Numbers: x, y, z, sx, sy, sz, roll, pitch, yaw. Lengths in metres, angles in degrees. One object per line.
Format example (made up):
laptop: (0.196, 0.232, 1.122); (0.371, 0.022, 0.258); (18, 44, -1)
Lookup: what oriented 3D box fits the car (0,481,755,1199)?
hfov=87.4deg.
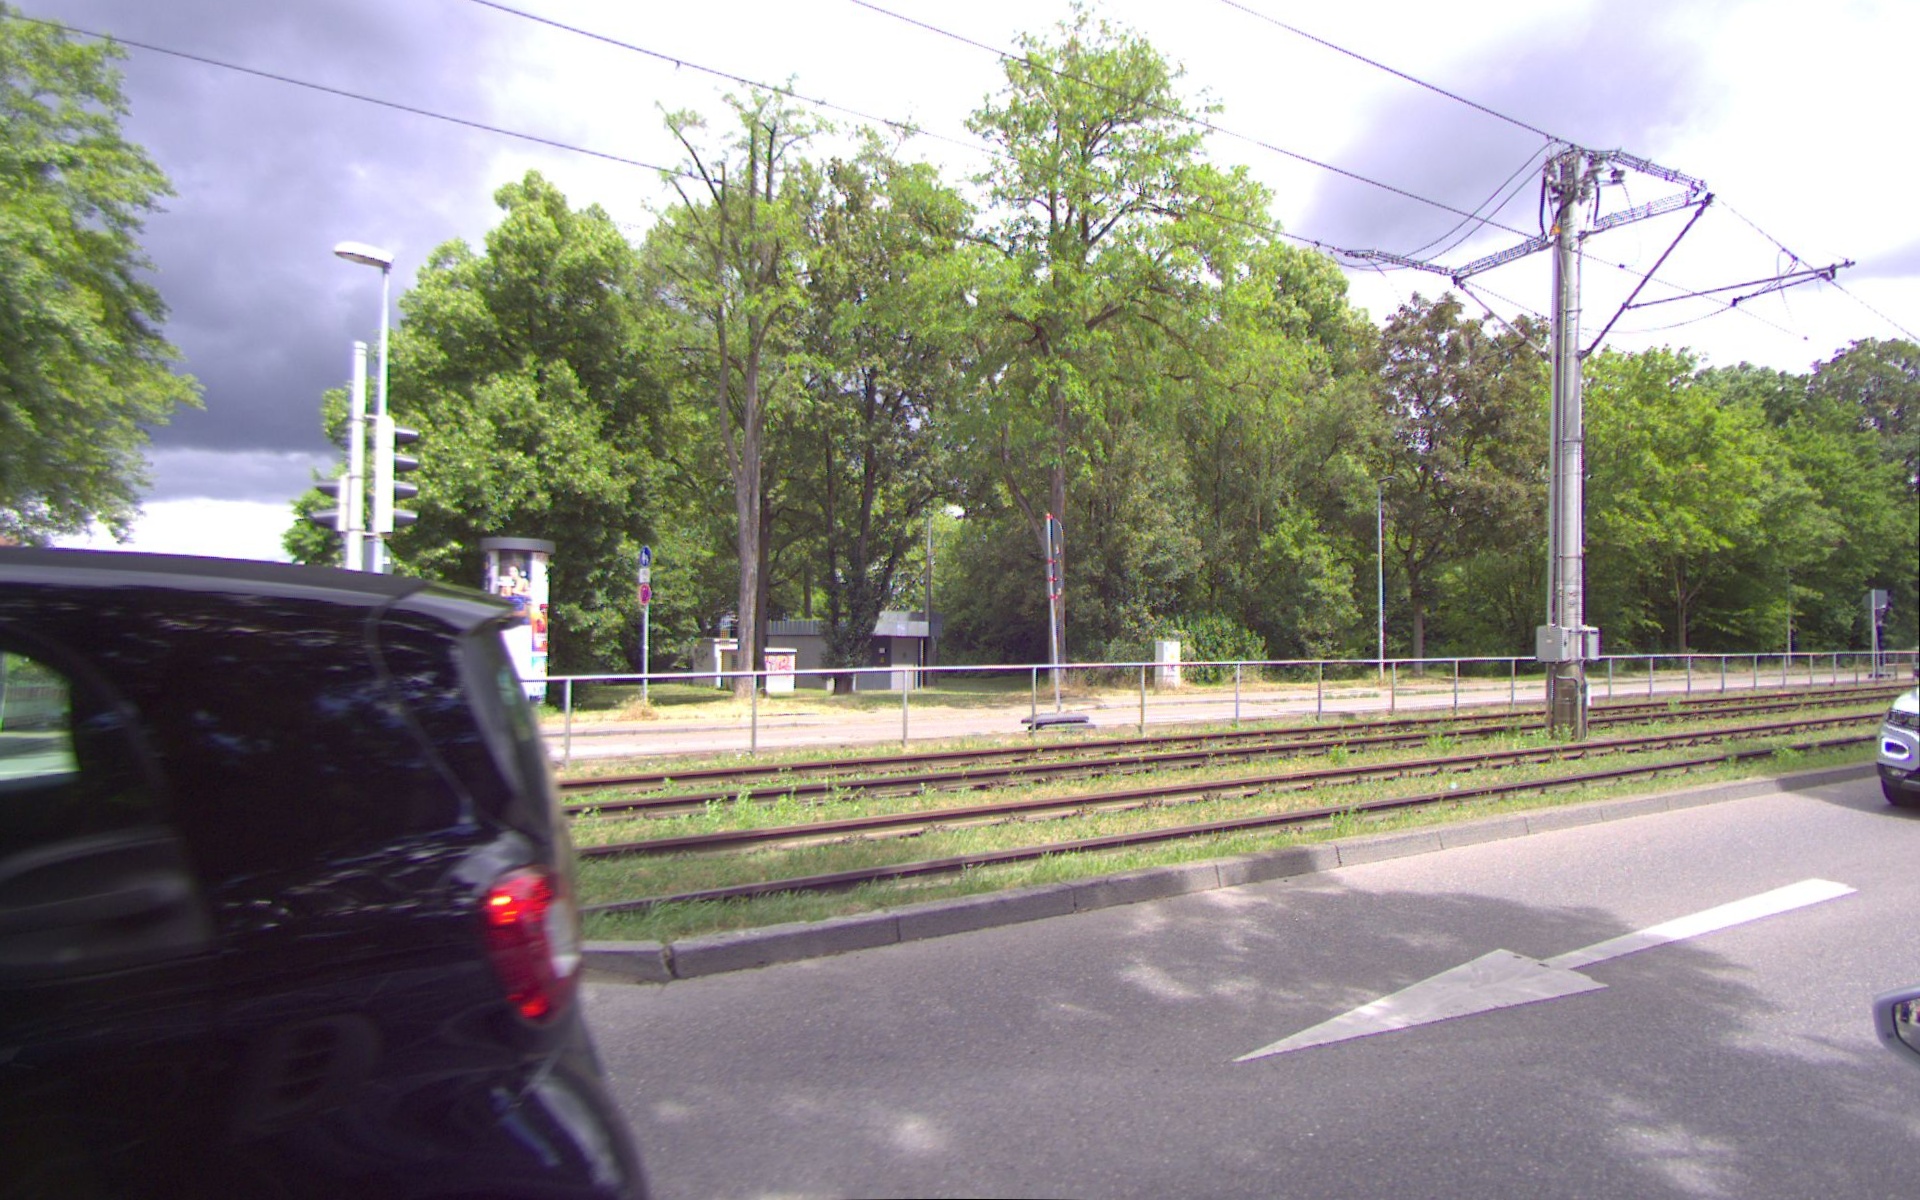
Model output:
car: (-2.119, 0.630, 1.391); (3.238, 1.554, 1.628); (1, 0, -32)

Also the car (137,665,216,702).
car: (-47.373, 5.019, 60.758); (3.598, 2.040, 1.941); (3, -1, -41)

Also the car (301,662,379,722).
car: (-21.030, 3.090, 34.195); (1.976, 1.882, 3.971); (2, -5, -29)

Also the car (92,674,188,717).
car: (-43.195, 5.017, 53.009); (3.584, 2.040, 1.948); (2, -1, -31)

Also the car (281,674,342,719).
car: (-25.352, 3.734, 39.364); (1.833, 1.508, 3.967); (2, -3, -31)

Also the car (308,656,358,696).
car: (-34.091, 4.130, 54.698); (1.976, 2.129, 3.971); (2, -5, -29)

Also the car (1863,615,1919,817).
car: (9.430, 0.935, 8.433); (3.955, 1.565, 1.707); (1, 0, -32)
